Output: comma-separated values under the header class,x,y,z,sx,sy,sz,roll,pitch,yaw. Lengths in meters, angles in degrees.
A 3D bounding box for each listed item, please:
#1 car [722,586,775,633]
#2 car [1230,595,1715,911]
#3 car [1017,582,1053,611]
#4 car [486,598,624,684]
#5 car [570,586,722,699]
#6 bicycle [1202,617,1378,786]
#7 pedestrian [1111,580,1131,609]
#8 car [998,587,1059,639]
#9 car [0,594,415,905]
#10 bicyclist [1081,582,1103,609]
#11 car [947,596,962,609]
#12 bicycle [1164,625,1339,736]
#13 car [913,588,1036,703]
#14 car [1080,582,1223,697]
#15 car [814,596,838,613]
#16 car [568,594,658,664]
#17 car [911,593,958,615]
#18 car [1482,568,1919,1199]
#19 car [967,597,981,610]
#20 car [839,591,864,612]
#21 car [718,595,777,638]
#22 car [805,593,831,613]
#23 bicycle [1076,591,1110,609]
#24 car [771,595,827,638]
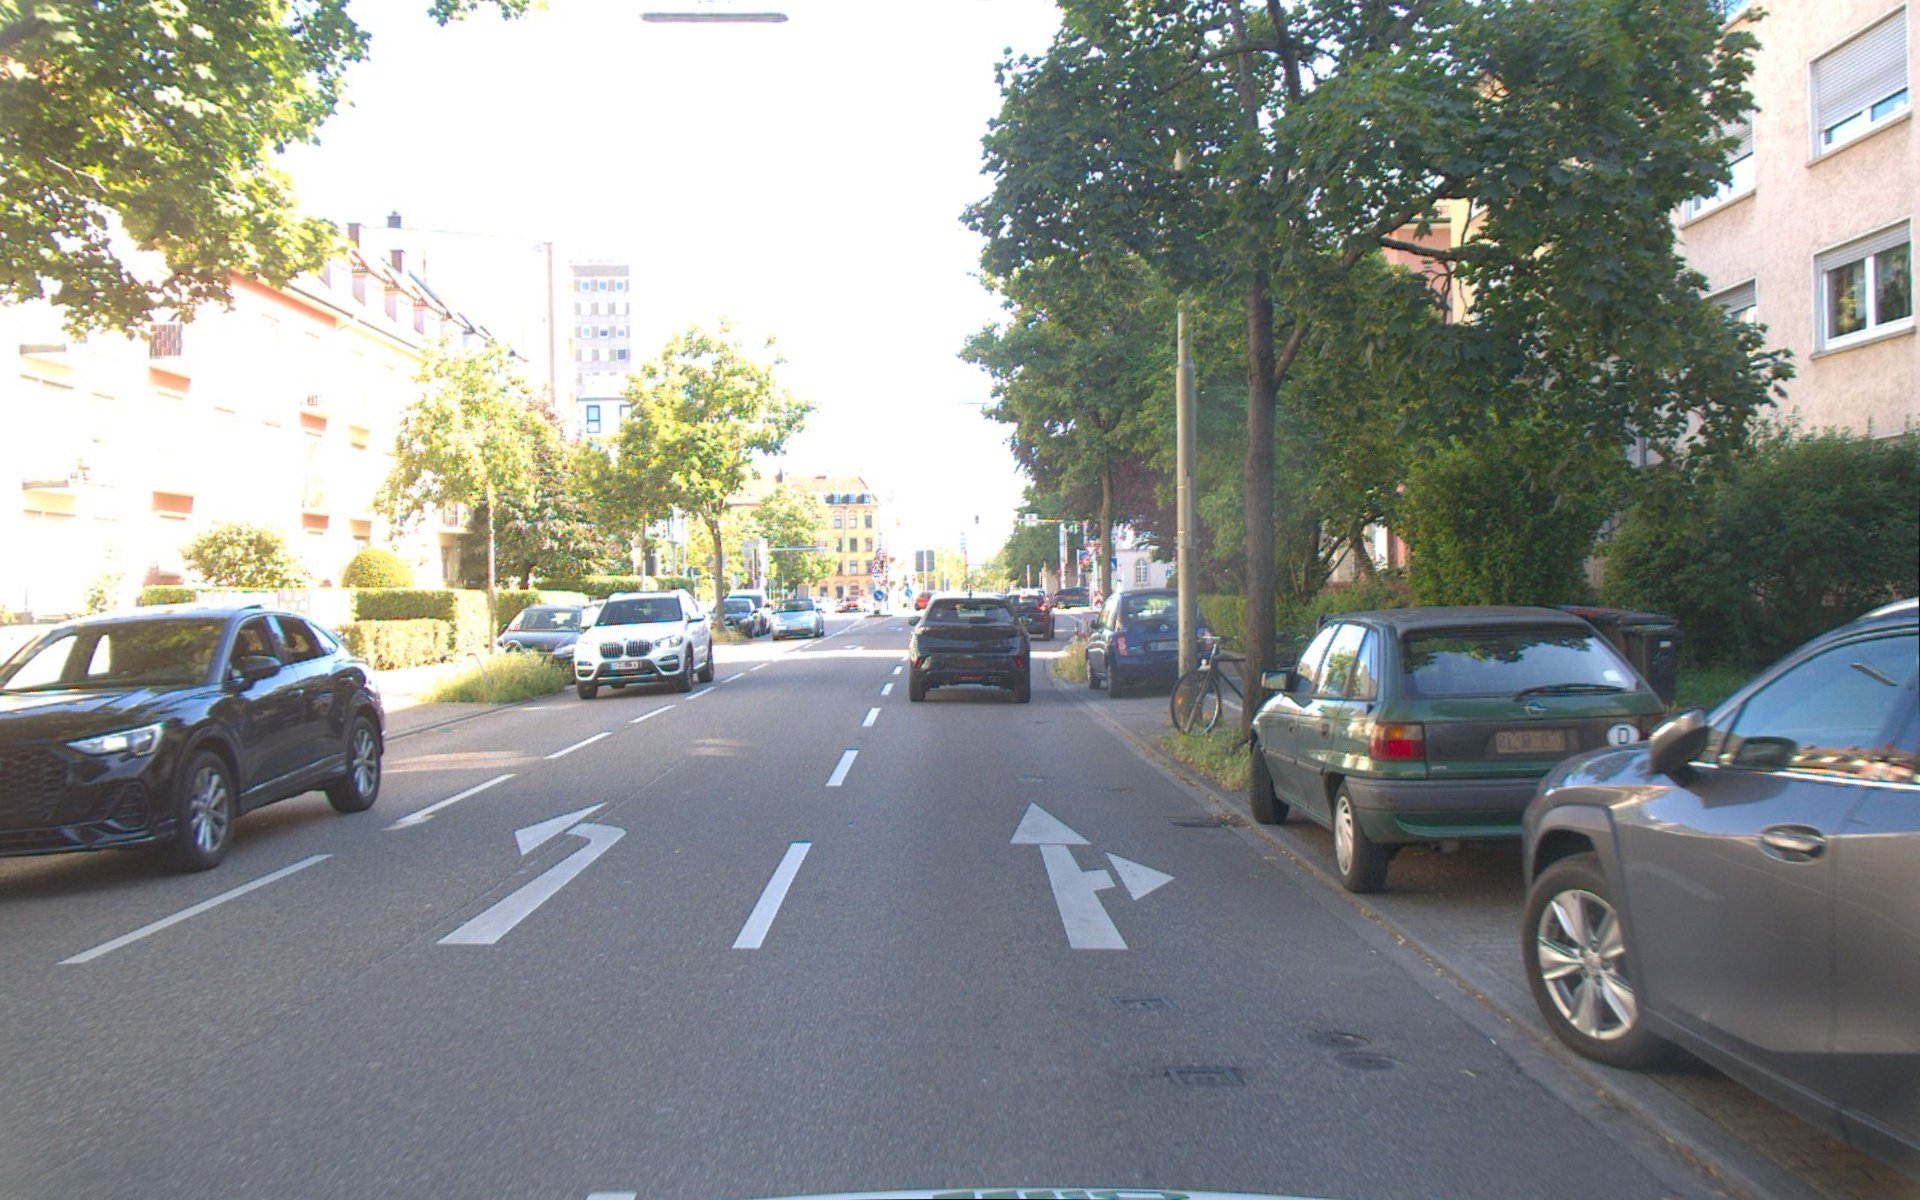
class,x,y,z,sx,sy,sz,roll,pitch,yaw
car,-8.701,0.361,68.270,1.782,1.866,4.560,-1,0,-3
car,2.728,0.711,9.743,1.579,1.407,3.976,-2,0,0
car,4.124,-0.209,91.275,1.793,1.478,3.988,-1,0,0
car,-7.993,0.757,33.010,1.749,1.519,4.492,-1,1,-2
car,-5.324,0.665,28.596,1.770,1.676,4.671,-4,0,-2
bicycle,2.713,0.795,13.512,1.652,1.258,0.465,-2,0,-40
pedestrian,9.795,-0.339,100.771,1.020,1.689,0.783,-2,0,-4
car,2.210,0.391,54.085,1.793,1.606,3.839,-2,1,0
car,-5.205,0.825,11.037,1.684,1.593,4.341,-4,0,-1
bicyclist,8.155,-0.270,102.281,1.147,1.662,0.725,-1,0,-18
car,-0.845,0.363,238.794,1.953,1.898,3.998,1,0,-2
bicycle,2.999,0.835,17.151,1.702,1.040,0.524,-4,-2,7
car,0.172,0.623,24.690,1.710,1.601,3.557,0,0,-1
car,2.859,0.556,25.343,1.528,1.541,3.653,-3,0,-3
car,-12.362,0.432,152.613,1.836,1.473,4.000,-1,0,-1
car,-8.271,0.665,39.670,1.642,1.552,3.655,1,1,-4
car,-1.886,0.299,120.300,1.753,1.478,3.846,-2,0,-30
car,2.878,0.677,4.043,1.680,1.515,4.232,-2,0,-2
car,1.910,0.458,227.160,1.822,1.689,4.000,1,0,1
car,-8.968,0.128,137.330,1.754,1.645,4.000,-1,0,0
car,-7.900,0.598,61.864,1.637,1.482,4.111,-1,0,0
car,-11.942,0.240,139.254,1.836,1.645,4.000,-1,0,-1
bicycle,8.218,-0.002,102.328,2.000,1.079,0.618,-1,0,-19
car,-5.792,0.573,59.929,1.702,1.405,3.935,-3,1,-2
